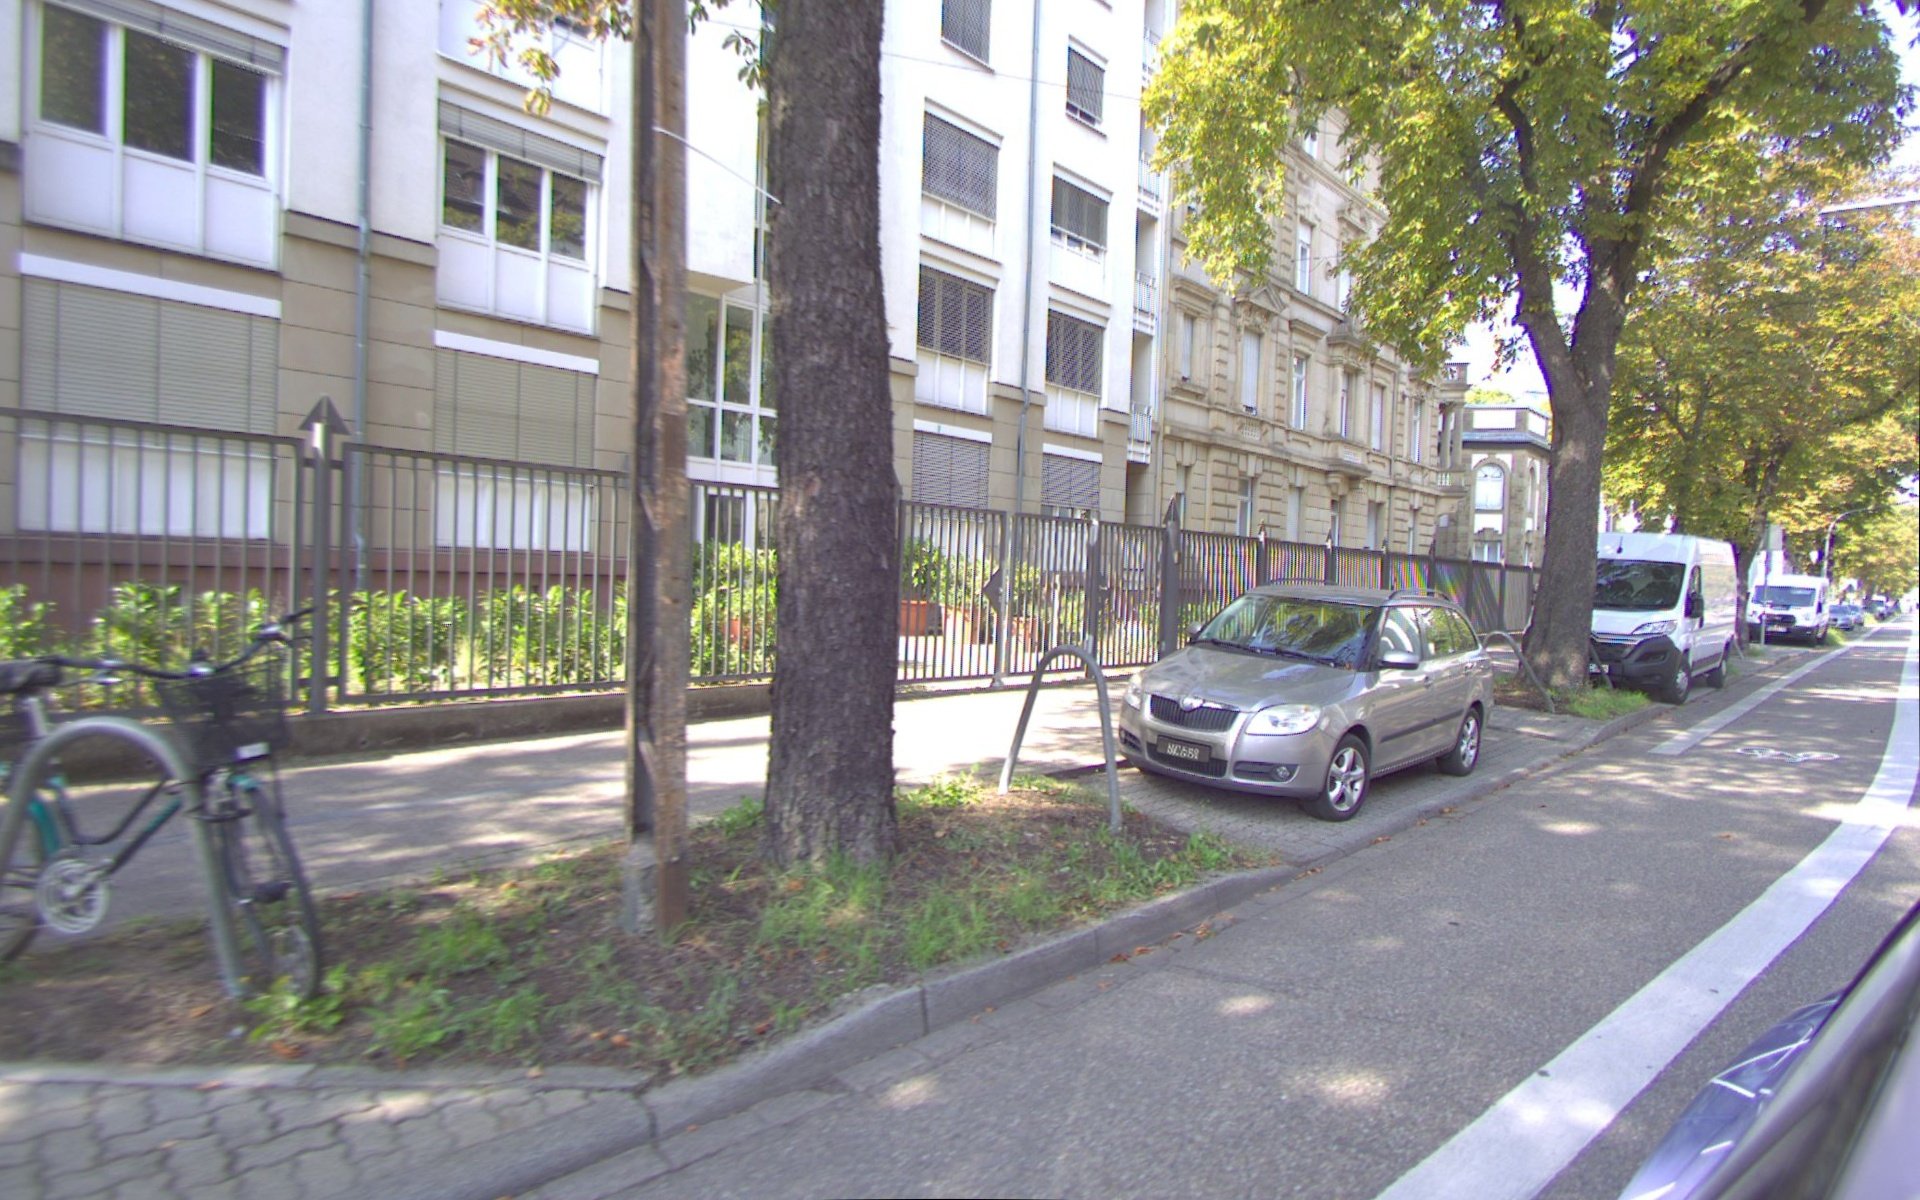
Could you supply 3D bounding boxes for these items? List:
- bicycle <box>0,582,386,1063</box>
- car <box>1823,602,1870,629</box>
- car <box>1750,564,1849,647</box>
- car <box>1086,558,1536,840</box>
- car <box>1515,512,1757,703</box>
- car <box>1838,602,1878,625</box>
[{"bbox_3d":[-2.743,0.589,3.036,1.810,1.179,0.505,4,7,5],"label":"bicycle"},{"bbox_3d":[48.716,0.829,55.591,1.753,1.373,3.729,4,2,43],"label":"car"},{"bbox_3d":[29.444,0.166,35.425,1.996,2.571,5.772,6,4,45],"label":"car"},{"bbox_3d":[2.983,0.561,8.003,1.608,1.542,4.288,8,5,44],"label":"car"},{"bbox_3d":[11.048,0.048,16.281,2.047,2.529,6.129,4,3,44],"label":"car"},{"bbox_3d":[57.943,0.869,65.283,1.753,1.373,3.729,4,2,43],"label":"car"}]
